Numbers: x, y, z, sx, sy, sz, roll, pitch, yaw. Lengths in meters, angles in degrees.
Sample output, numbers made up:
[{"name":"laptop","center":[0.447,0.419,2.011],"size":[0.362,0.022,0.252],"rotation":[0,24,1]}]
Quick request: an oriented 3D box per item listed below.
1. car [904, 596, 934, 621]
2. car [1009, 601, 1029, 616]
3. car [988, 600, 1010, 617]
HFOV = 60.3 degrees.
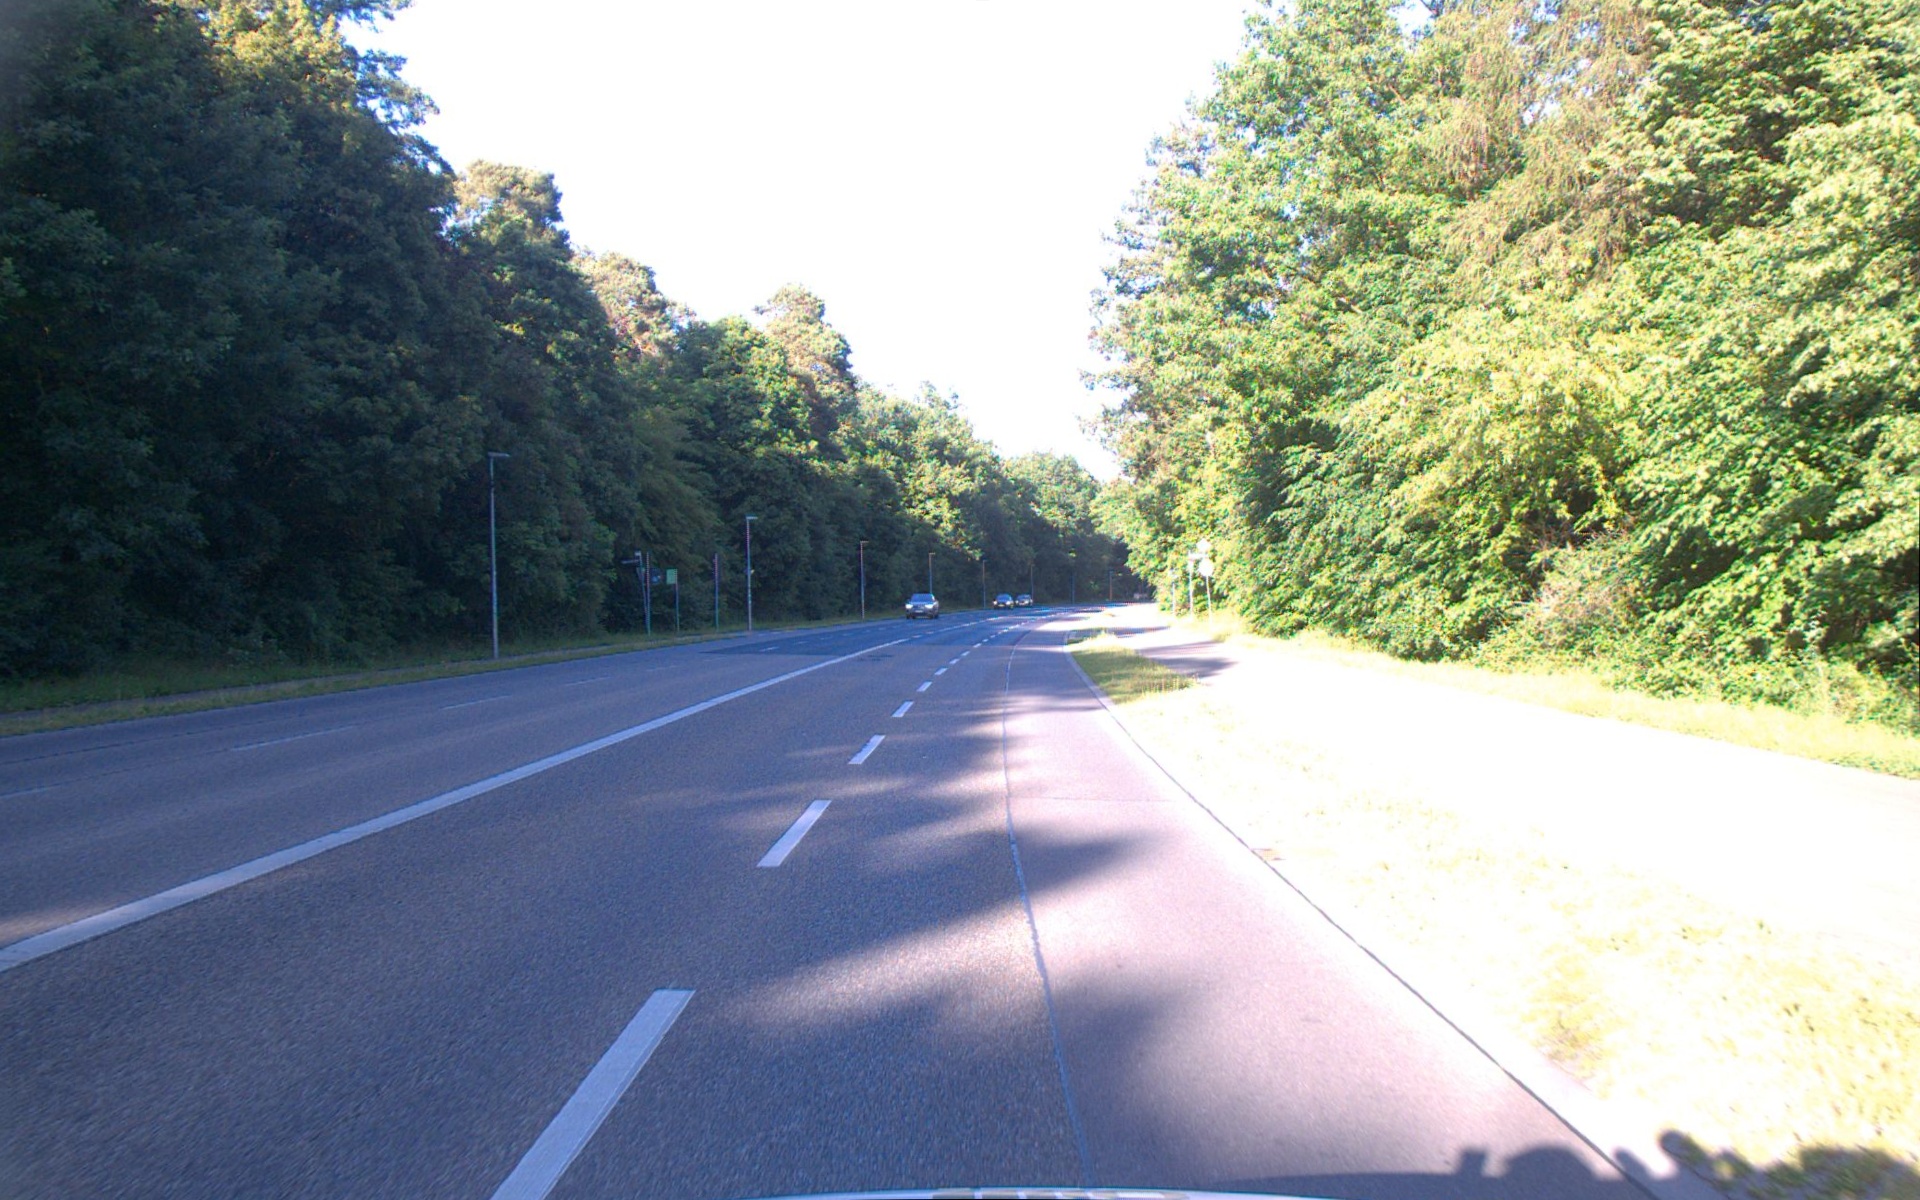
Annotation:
[{"name":"car","center":[-2.676,0.592,108.884],"size":[1.953,1.613,3.999],"rotation":[0,-1,-1]},{"name":"car","center":[6.637,0.950,184.924],"size":[1.951,1.613,4.002],"rotation":[0,-1,7]},{"name":"car","center":[3.883,0.882,164.864],"size":[1.951,1.613,4.002],"rotation":[0,-1,5]}]
